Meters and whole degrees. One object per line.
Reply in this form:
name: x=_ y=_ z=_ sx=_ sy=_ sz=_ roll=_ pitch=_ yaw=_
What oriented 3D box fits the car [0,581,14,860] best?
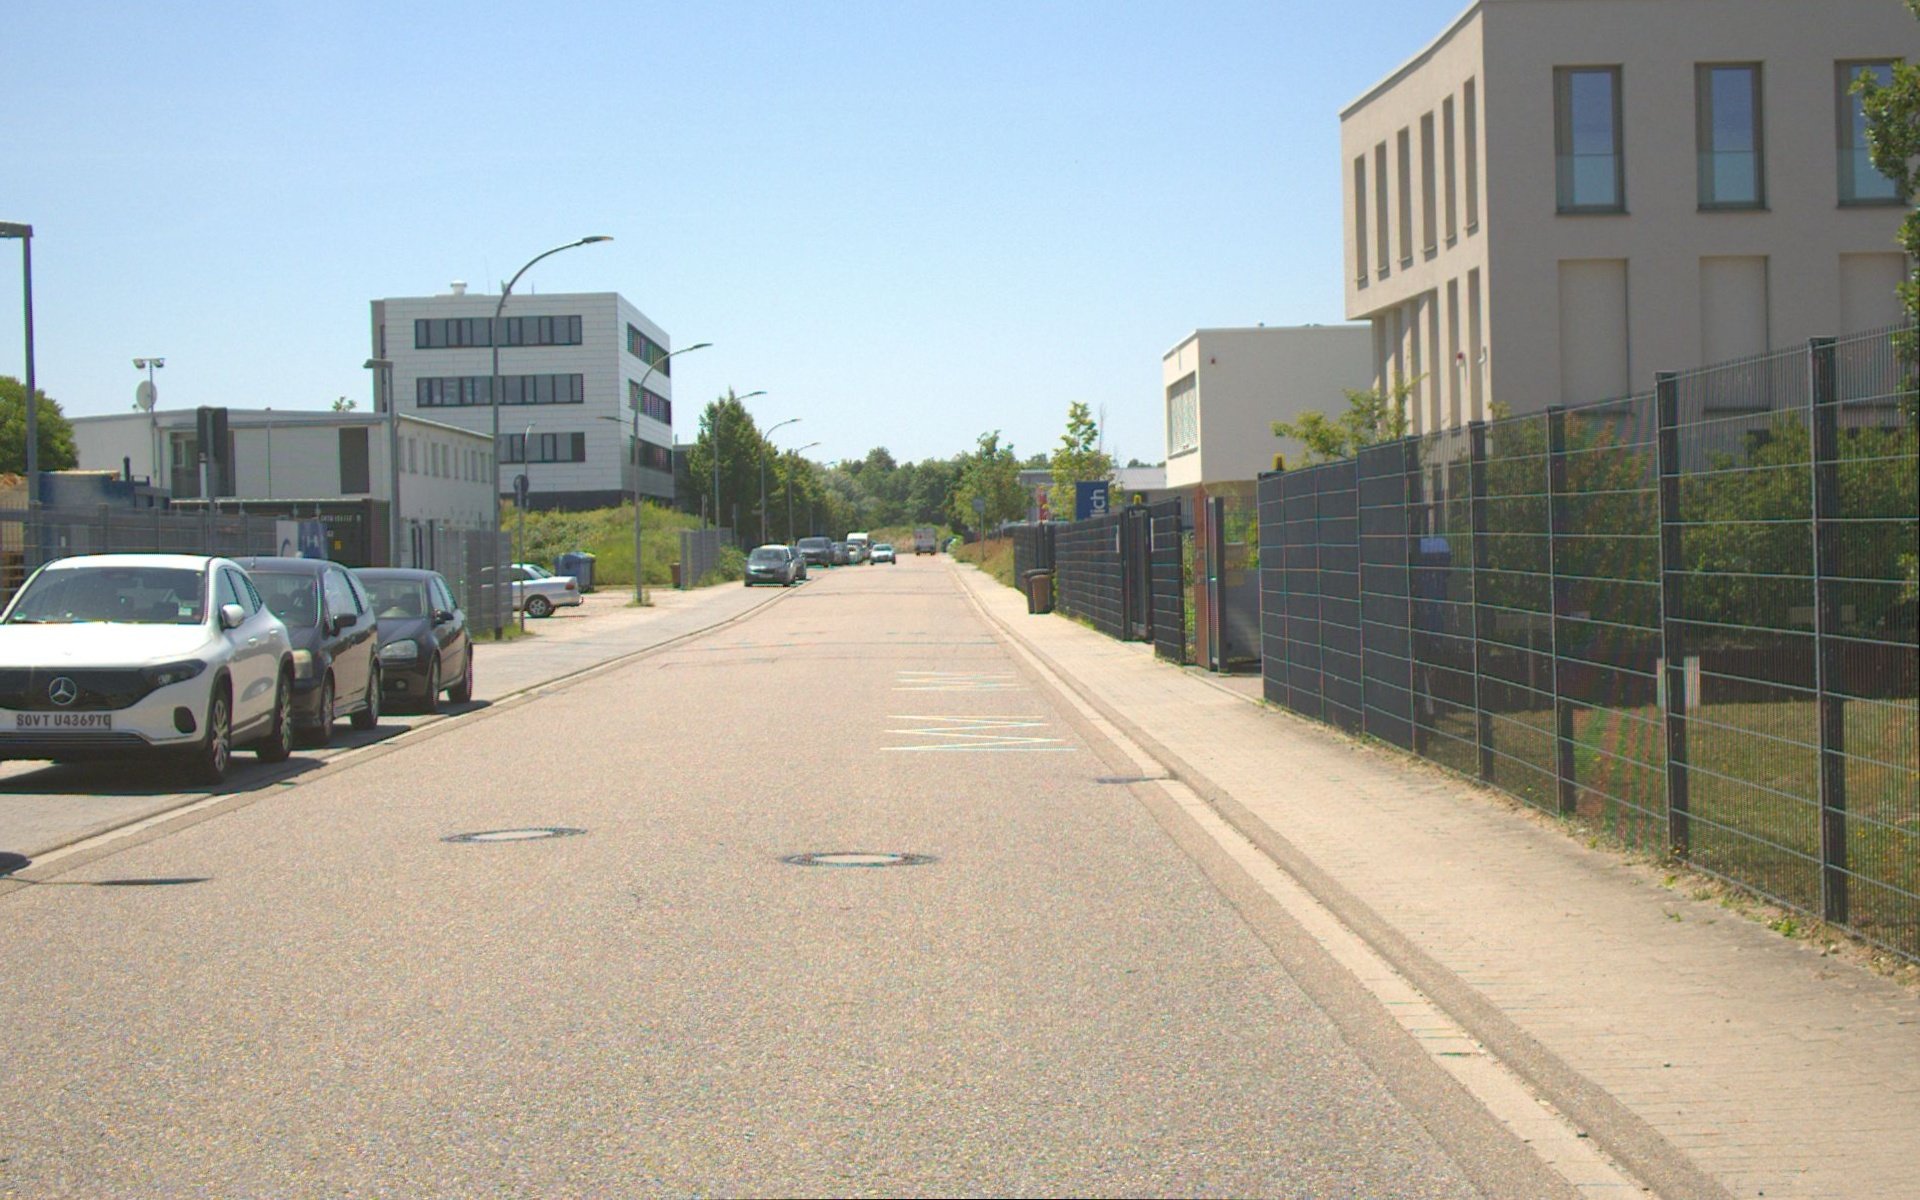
car: x=-6.000 y=0.666 z=16.380 sx=1.857 sy=1.475 sz=4.229 roll=0 pitch=1 yaw=-1

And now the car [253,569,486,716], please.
car: x=-6.200 y=0.403 z=36.535 sx=1.769 sy=1.456 sz=4.333 roll=0 pitch=1 yaw=-1

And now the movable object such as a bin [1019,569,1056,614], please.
movable object such as a bin: x=1.902 y=-0.214 z=84.082 sx=0.779 sy=1.016 sz=0.665 roll=-5 pitch=2 yaw=4

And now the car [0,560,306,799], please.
car: x=-5.995 y=0.506 z=25.003 sx=1.769 sy=1.586 sz=4.360 roll=0 pitch=1 yaw=-2

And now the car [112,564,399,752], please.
car: x=-6.183 y=0.456 z=30.637 sx=1.769 sy=1.551 sz=4.502 roll=0 pitch=1 yaw=-2

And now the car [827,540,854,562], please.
car: x=-8.782 y=-3.620 z=252.704 sx=1.804 sy=1.551 sz=4.000 roll=-2 pitch=1 yaw=0

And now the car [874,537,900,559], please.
car: x=-5.391 y=-3.848 z=253.990 sx=1.804 sy=1.551 sz=4.000 roll=-2 pitch=1 yaw=0

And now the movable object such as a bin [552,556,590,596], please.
movable object such as a bin: x=-14.122 y=-0.882 z=124.763 sx=1.285 sy=1.407 sz=1.807 roll=-1 pitch=1 yaw=-4

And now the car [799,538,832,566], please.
car: x=-7.798 y=-2.597 z=186.011 sx=1.644 sy=1.484 sz=3.207 roll=-1 pitch=1 yaw=0

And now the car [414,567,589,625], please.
car: x=-11.955 y=-0.118 z=89.800 sx=4.277 sy=1.360 sz=1.898 roll=-2 pitch=1 yaw=0

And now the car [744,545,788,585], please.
car: x=-7.388 y=-1.349 z=131.037 sx=1.466 sy=1.484 sz=3.207 roll=-1 pitch=1 yaw=0

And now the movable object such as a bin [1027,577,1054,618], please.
movable object such as a bin: x=1.945 y=-0.072 z=83.128 sx=0.552 sy=0.925 sz=0.522 roll=-5 pitch=2 yaw=4
